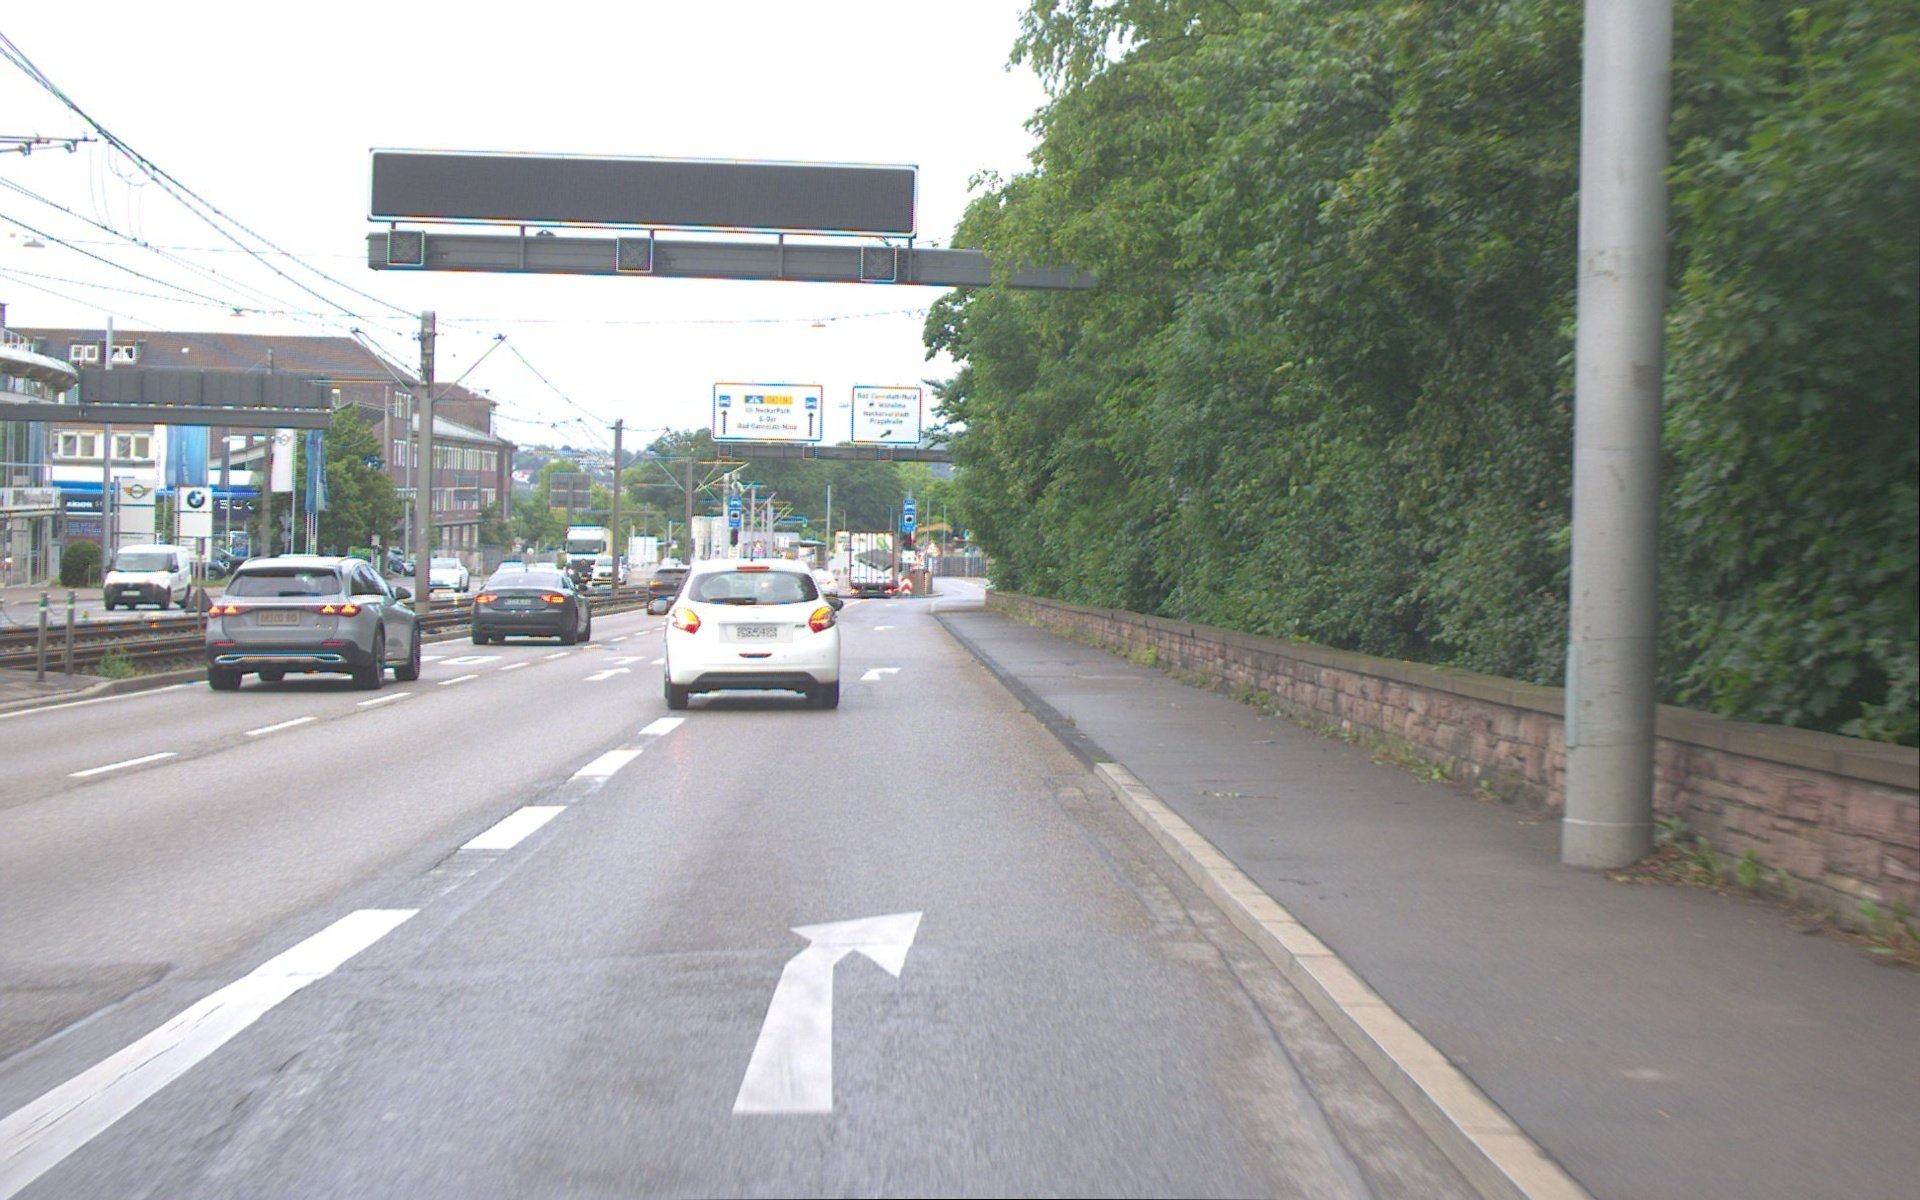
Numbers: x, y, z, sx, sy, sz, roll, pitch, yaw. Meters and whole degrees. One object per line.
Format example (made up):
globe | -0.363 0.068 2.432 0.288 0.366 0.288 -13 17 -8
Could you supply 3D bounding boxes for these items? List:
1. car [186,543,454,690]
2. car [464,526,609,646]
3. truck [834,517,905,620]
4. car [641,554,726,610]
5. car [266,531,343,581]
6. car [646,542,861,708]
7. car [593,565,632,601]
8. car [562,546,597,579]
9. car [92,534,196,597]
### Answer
car | -7.233 0.158 39.247 1.821 1.560 4.091 -1 0 7
car | -7.531 -0.280 61.431 1.722 1.884 3.535 1 4 8
truck | -5.249 -1.754 201.686 3.465 5.383 12.049 2 -2 1
car | -8.135 -0.532 101.473 1.994 1.570 4.000 1 0 3
car | -23.278 -1.536 122.198 1.993 1.656 4.000 2 0 -1
car | -2.022 0.205 34.744 1.955 1.483 4.000 2 1 -1
car | -21.683 -1.076 214.602 1.993 2.007 4.000 2 -2 -1
car | -26.552 -2.619 240.042 1.993 2.007 4.000 2 -2 -1
car | -23.025 -0.959 97.162 1.993 1.656 4.000 2 0 -1
